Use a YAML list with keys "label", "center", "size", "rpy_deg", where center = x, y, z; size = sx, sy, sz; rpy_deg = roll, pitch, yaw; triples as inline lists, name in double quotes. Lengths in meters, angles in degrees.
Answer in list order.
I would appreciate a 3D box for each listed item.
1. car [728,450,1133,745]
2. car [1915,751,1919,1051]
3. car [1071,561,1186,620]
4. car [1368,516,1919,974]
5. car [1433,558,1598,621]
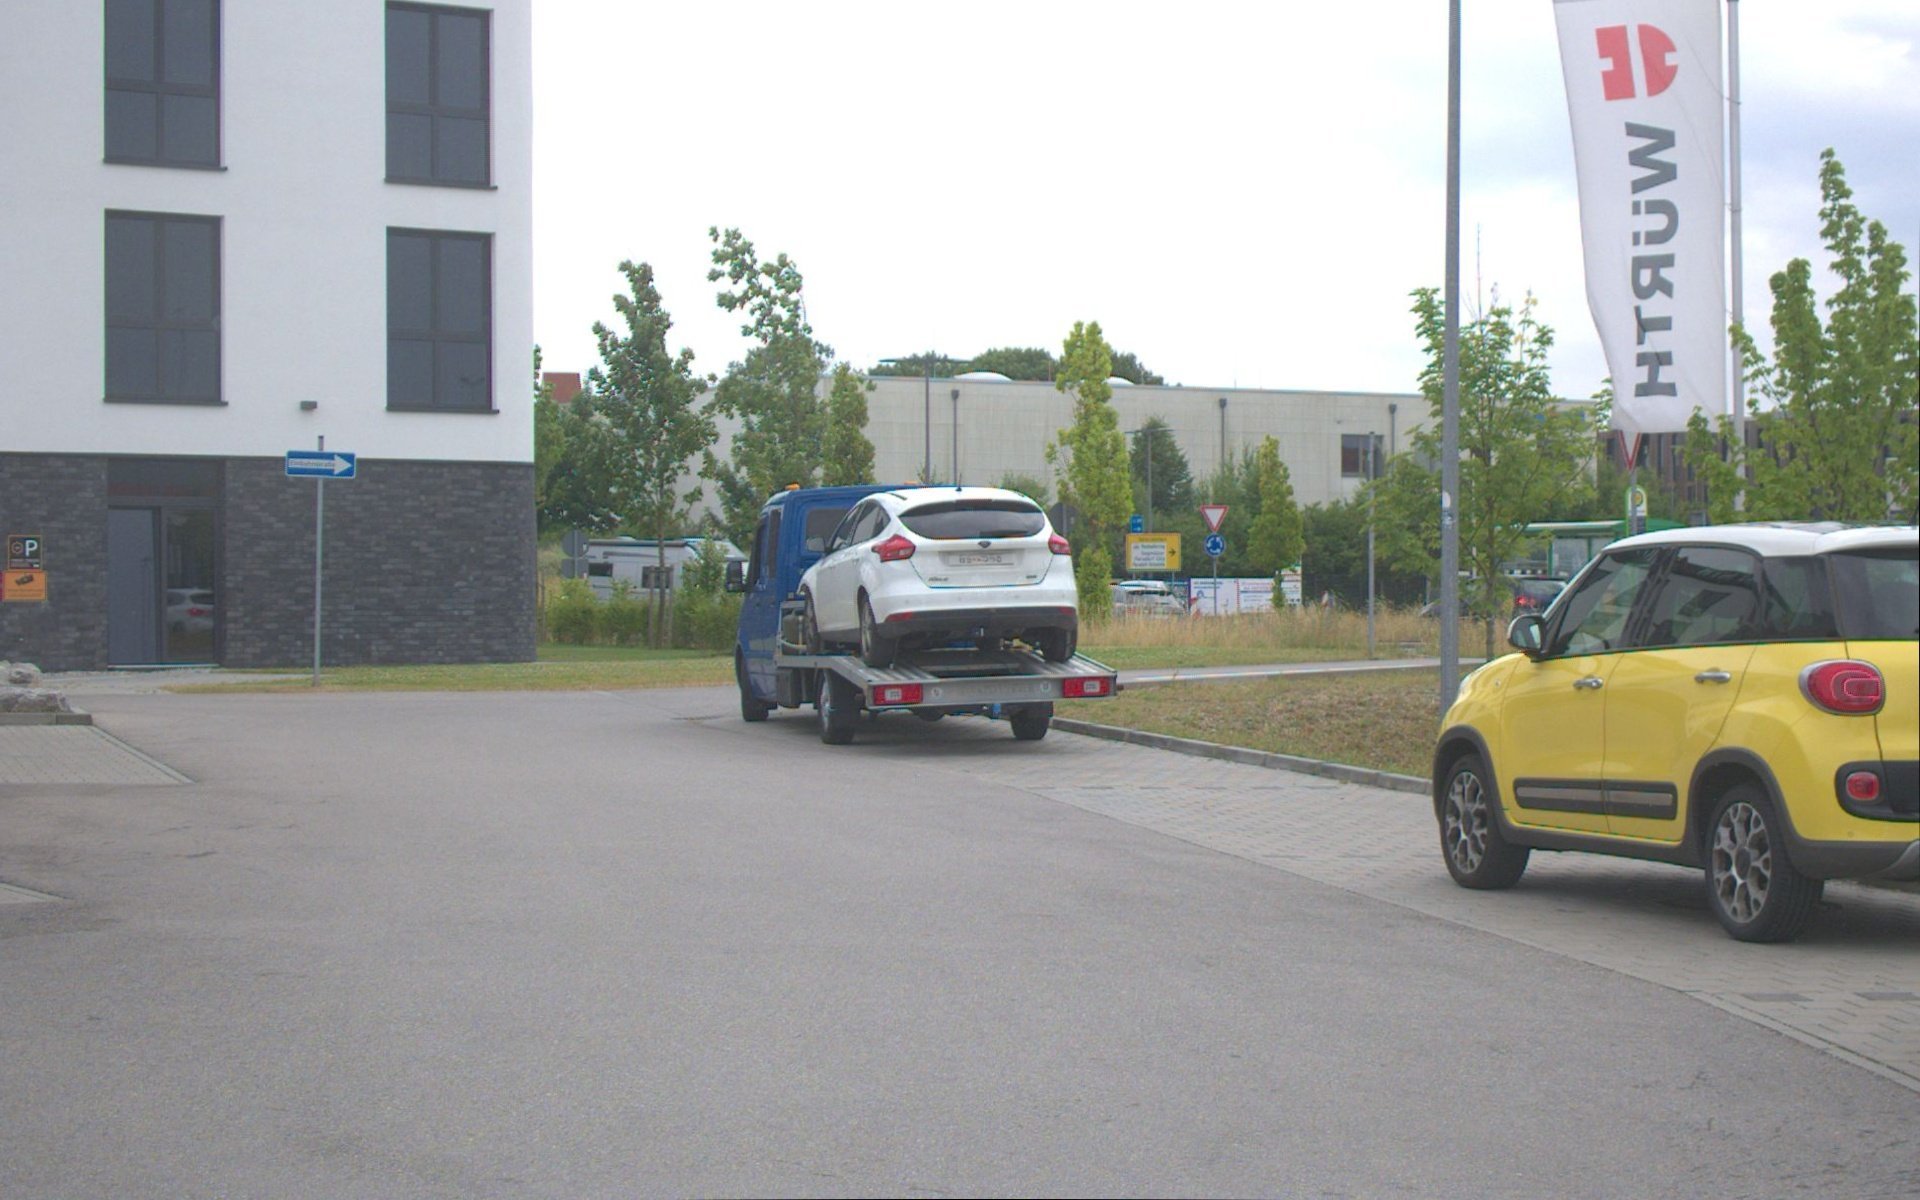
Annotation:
- label: "car"
  center: [-0.481, -0.030, 31.026]
  size: [2.193, 2.315, 7.859]
  rpy_deg: [0, 0, -11]
- label: "car"
  center: [4.131, 0.704, 8.499]
  size: [1.747, 1.411, 4.307]
  rpy_deg: [1, 1, -9]
- label: "car"
  center: [4.207, -0.252, 86.149]
  size: [1.564, 1.415, 3.495]
  rpy_deg: [0, 1, -22]
- label: "car"
  center: [3.412, 0.513, 14.908]
  size: [1.747, 1.677, 4.300]
  rpy_deg: [1, 1, -15]
- label: "car"
  center: [11.242, -0.232, 69.862]
  size: [1.714, 1.220, 4.001]
  rpy_deg: [0, 1, -17]
